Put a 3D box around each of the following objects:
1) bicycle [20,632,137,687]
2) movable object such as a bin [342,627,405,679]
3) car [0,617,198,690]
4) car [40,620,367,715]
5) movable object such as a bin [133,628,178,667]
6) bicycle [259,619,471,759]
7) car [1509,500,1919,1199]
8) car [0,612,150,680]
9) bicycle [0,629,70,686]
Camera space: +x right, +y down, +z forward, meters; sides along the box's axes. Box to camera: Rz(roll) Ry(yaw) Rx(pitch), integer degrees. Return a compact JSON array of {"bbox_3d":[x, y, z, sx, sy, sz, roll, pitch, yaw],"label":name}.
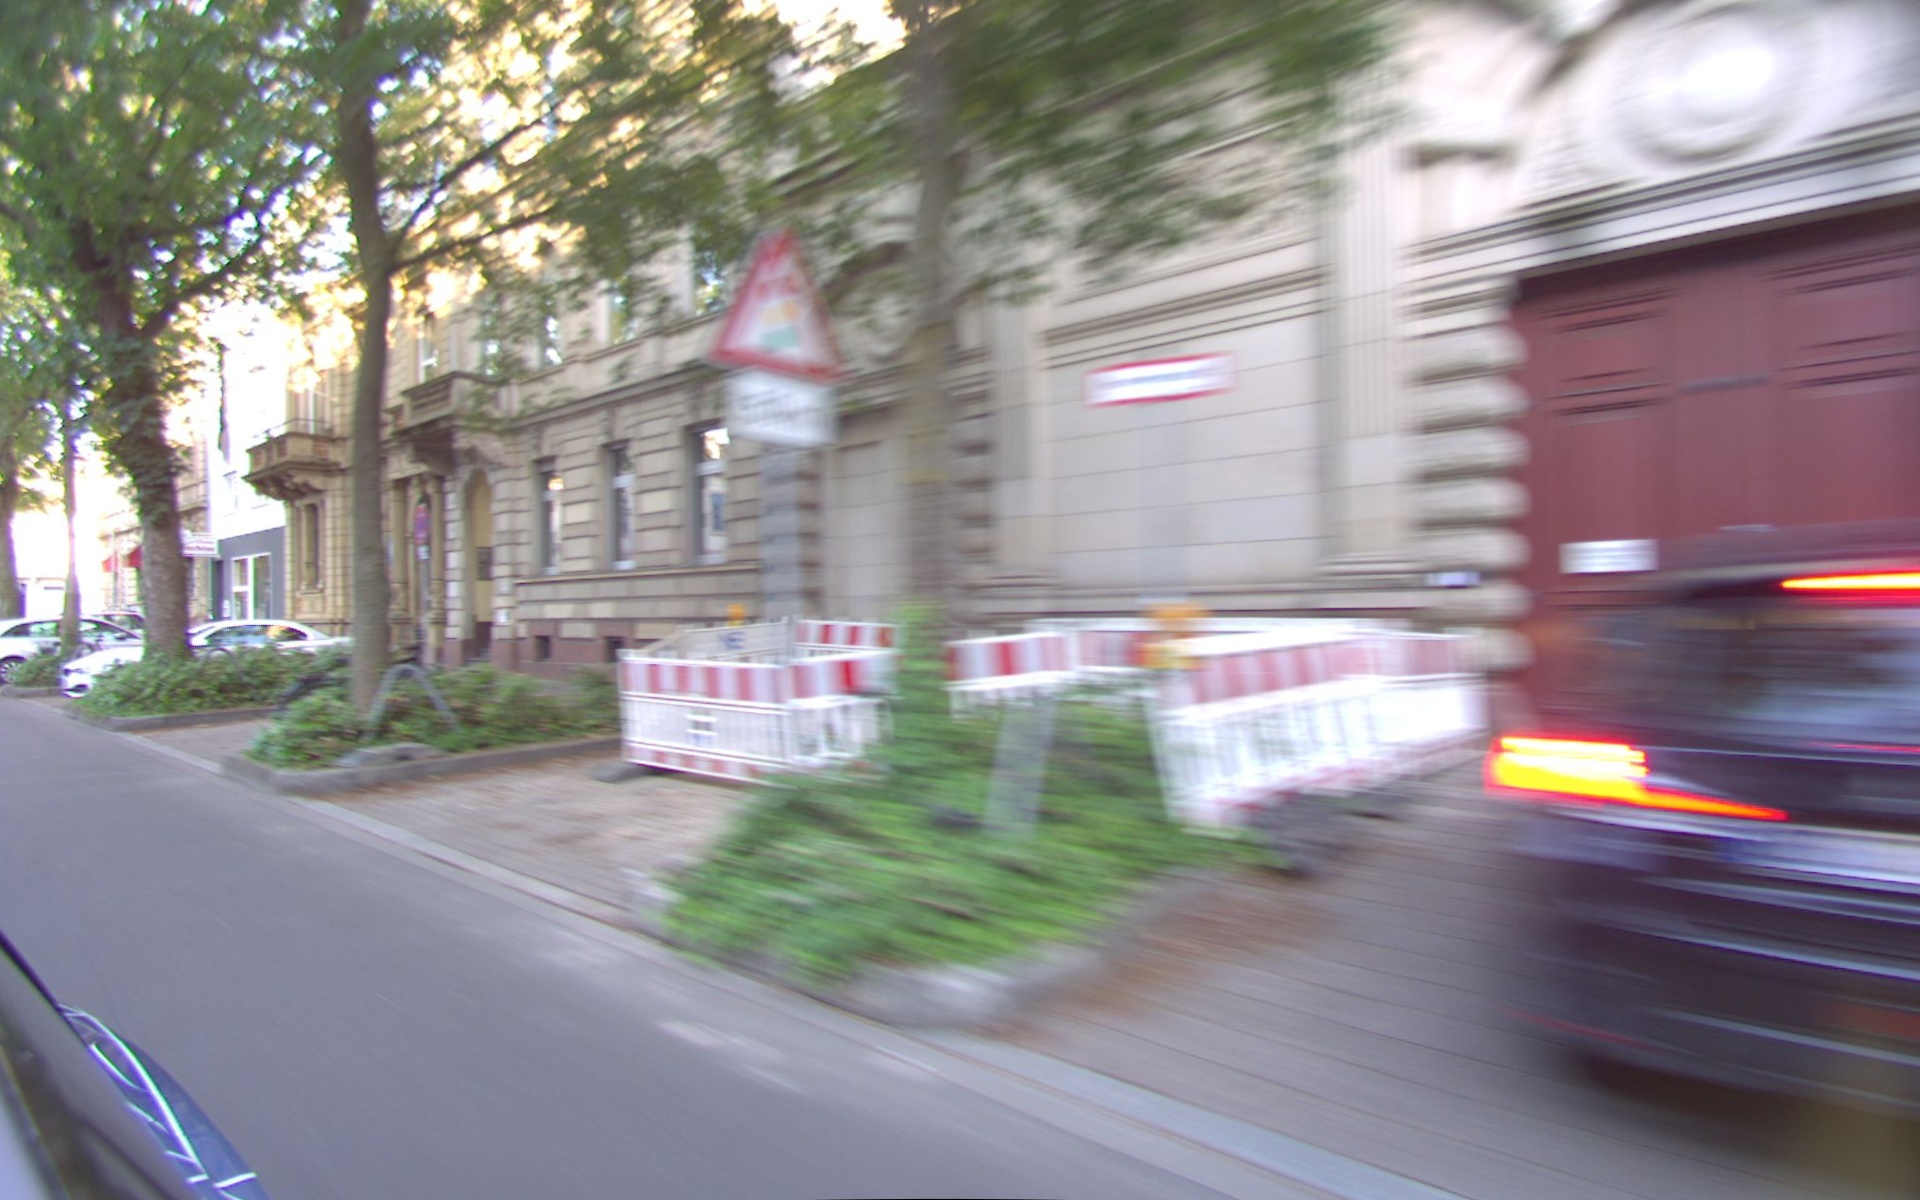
[{"bbox_3d":[-18.477,1.230,21.245,0.598,1.016,1.775,-1,0,41],"label":"bicycle"},{"bbox_3d":[-12.988,1.156,22.410,1.316,1.069,0.792,-2,1,41],"label":"movable object such as a bin"},{"bbox_3d":[-21.441,1.265,24.864,1.827,1.569,4.124,-2,-1,43],"label":"car"},{"bbox_3d":[-13.542,1.123,18.336,1.916,1.401,4.465,-1,0,41],"label":"car"},{"bbox_3d":[-23.101,1.351,29.050,1.316,1.070,0.767,-2,-1,41],"label":"movable object such as a bin"},{"bbox_3d":[-5.911,0.840,10.128,1.750,1.241,0.500,-1,0,-44],"label":"bicycle"},{"bbox_3d":[3.336,0.464,3.417,1.780,1.608,3.925,-1,3,41],"label":"car"},{"bbox_3d":[-26.999,1.349,29.939,1.888,1.735,4.382,-2,1,39],"label":"car"},{"bbox_3d":[-23.324,1.425,25.077,0.772,1.336,1.779,-2,-1,35],"label":"bicycle"}]
